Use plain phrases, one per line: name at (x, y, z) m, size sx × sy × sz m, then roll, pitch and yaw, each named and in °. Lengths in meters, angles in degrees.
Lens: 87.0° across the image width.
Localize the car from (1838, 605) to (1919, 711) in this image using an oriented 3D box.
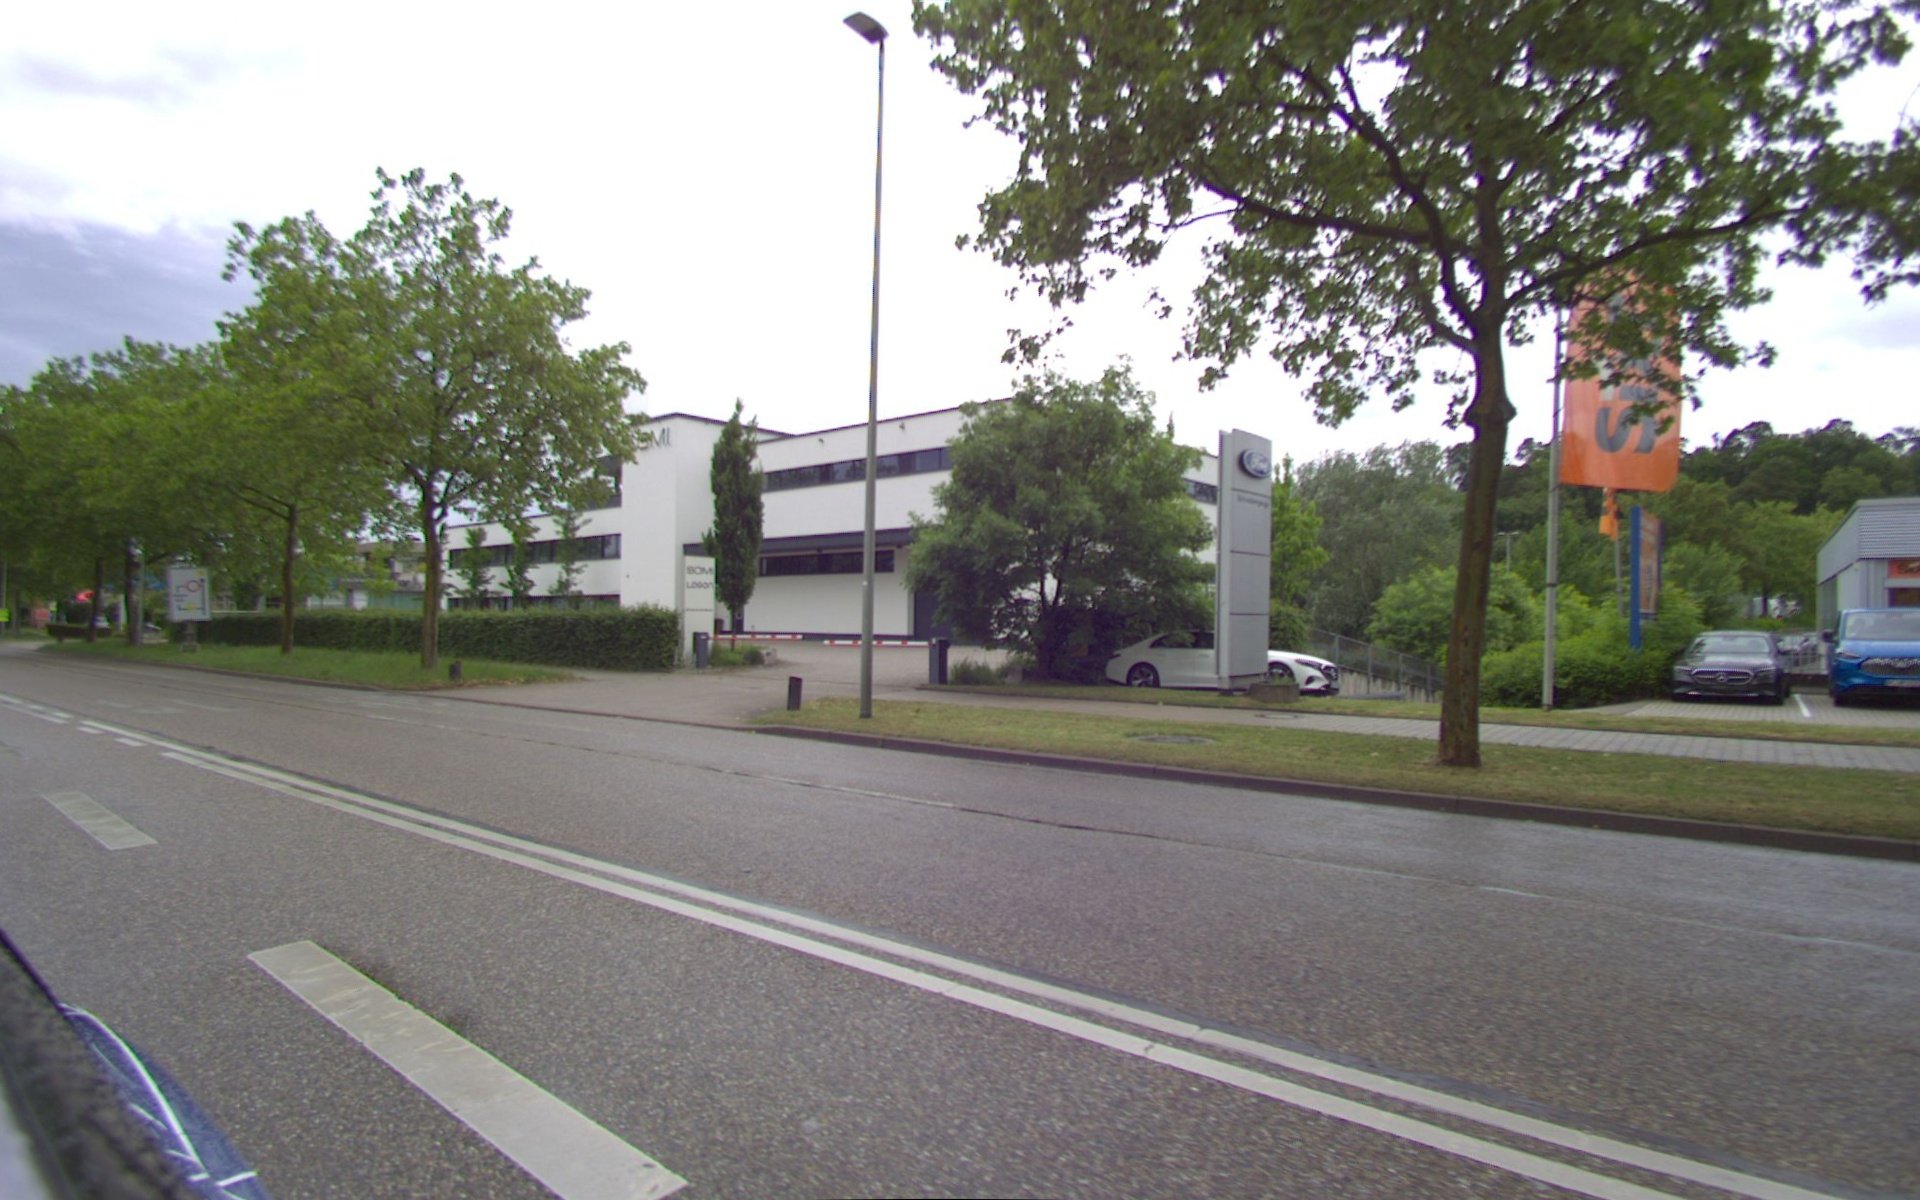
car at (18.570, 1.094, 19.863) m, size 1.962 × 1.904 × 3.945 m, roll -1°, pitch -2°, yaw 41°

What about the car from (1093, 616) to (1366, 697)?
car at (5.607, 1.135, 21.513) m, size 5.242 × 1.507 × 2.097 m, roll -1°, pitch -2°, yaw 40°

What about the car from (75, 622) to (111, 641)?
car at (-73.134, 2.653, 85.384) m, size 3.999 × 1.545 × 1.723 m, roll -1°, pitch -4°, yaw 42°

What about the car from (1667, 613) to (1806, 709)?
car at (16.528, 1.231, 21.473) m, size 2.065 × 1.827 × 4.083 m, roll -1°, pitch -2°, yaw 41°
